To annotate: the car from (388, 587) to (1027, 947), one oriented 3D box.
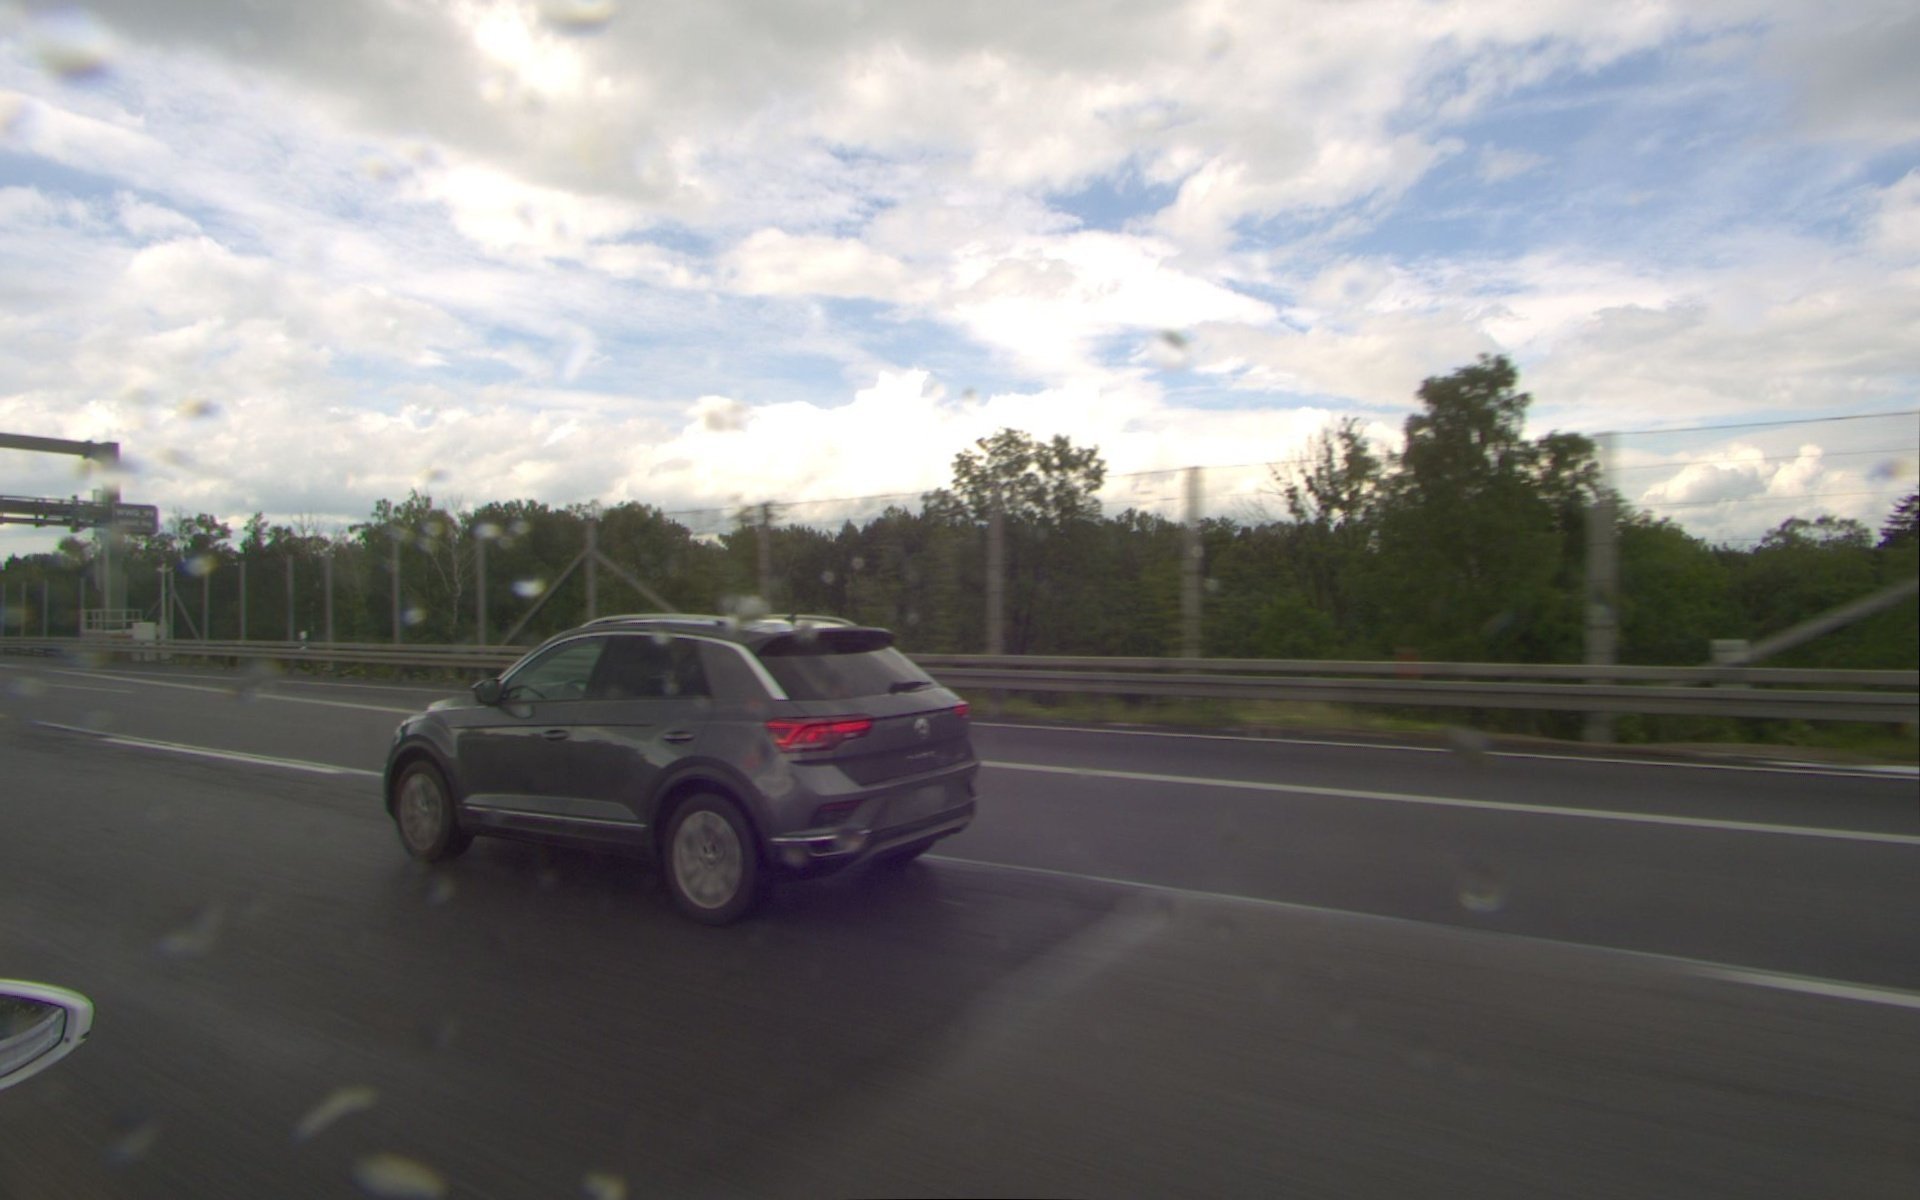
[{"bbox_3d":[-1.620,0.782,6.144,3.668,1.582,1.789,-1,-1,32],"label":"car"}]
